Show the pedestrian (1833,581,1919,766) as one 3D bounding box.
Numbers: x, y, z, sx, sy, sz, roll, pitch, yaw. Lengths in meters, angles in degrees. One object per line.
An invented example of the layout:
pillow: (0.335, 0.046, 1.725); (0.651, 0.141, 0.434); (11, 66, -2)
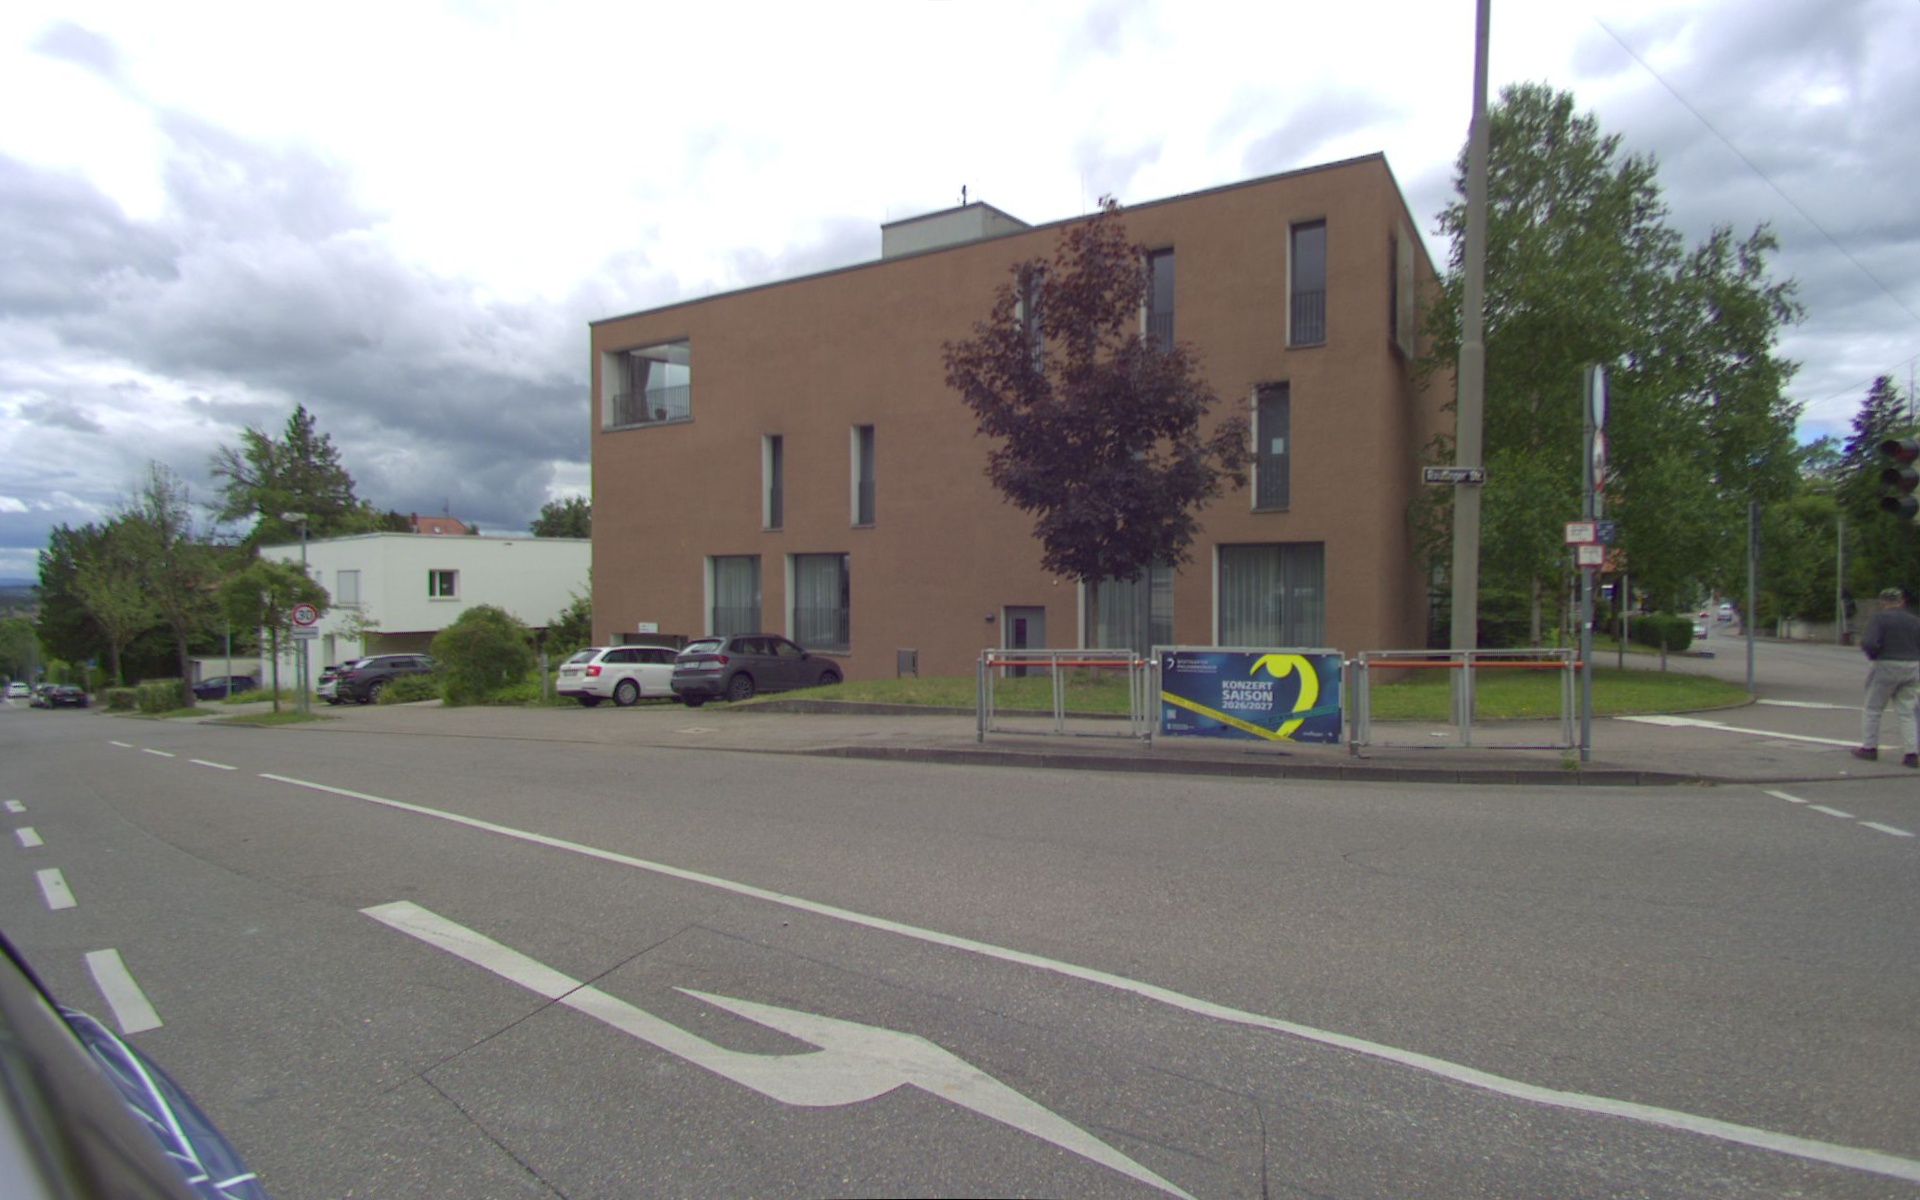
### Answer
pedestrian: (8.824, 0.667, 9.419); (0.674, 1.646, 0.739); (-1, -2, 3)

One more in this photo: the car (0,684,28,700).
car: (-95.926, 9.303, 102.326); (4.362, 1.432, 1.861); (-3, -3, 38)

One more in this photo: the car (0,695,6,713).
car: (-82.254, 8.812, 84.384); (1.702, 1.497, 4.000); (-3, -3, -1)

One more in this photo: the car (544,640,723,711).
car: (-8.006, 1.836, 25.109); (1.724, 1.497, 3.950); (-5, -4, 37)

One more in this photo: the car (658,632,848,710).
car: (-4.505, 1.527, 22.507); (1.724, 1.497, 3.950); (-5, -4, 37)

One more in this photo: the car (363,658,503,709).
car: (-18.241, 2.878, 35.134); (1.727, 1.497, 3.943); (-6, -4, 43)

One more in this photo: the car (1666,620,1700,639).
car: (57.884, 2.347, 81.042); (1.702, 1.424, 4.381); (-2, -1, 29)

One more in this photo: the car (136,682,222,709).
car: (-46.985, 5.740, 60.914); (3.939, 1.296, 1.665); (0, -4, -43)

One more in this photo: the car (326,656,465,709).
car: (-19.984, 2.899, 35.919); (1.793, 1.608, 3.943); (-6, -4, 43)

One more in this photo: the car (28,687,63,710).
car: (-61.571, 6.631, 68.125); (1.638, 1.432, 4.371); (0, -4, -44)

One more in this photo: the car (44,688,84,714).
car: (-54.948, 6.172, 62.047); (1.638, 1.432, 4.003); (0, -4, -44)
